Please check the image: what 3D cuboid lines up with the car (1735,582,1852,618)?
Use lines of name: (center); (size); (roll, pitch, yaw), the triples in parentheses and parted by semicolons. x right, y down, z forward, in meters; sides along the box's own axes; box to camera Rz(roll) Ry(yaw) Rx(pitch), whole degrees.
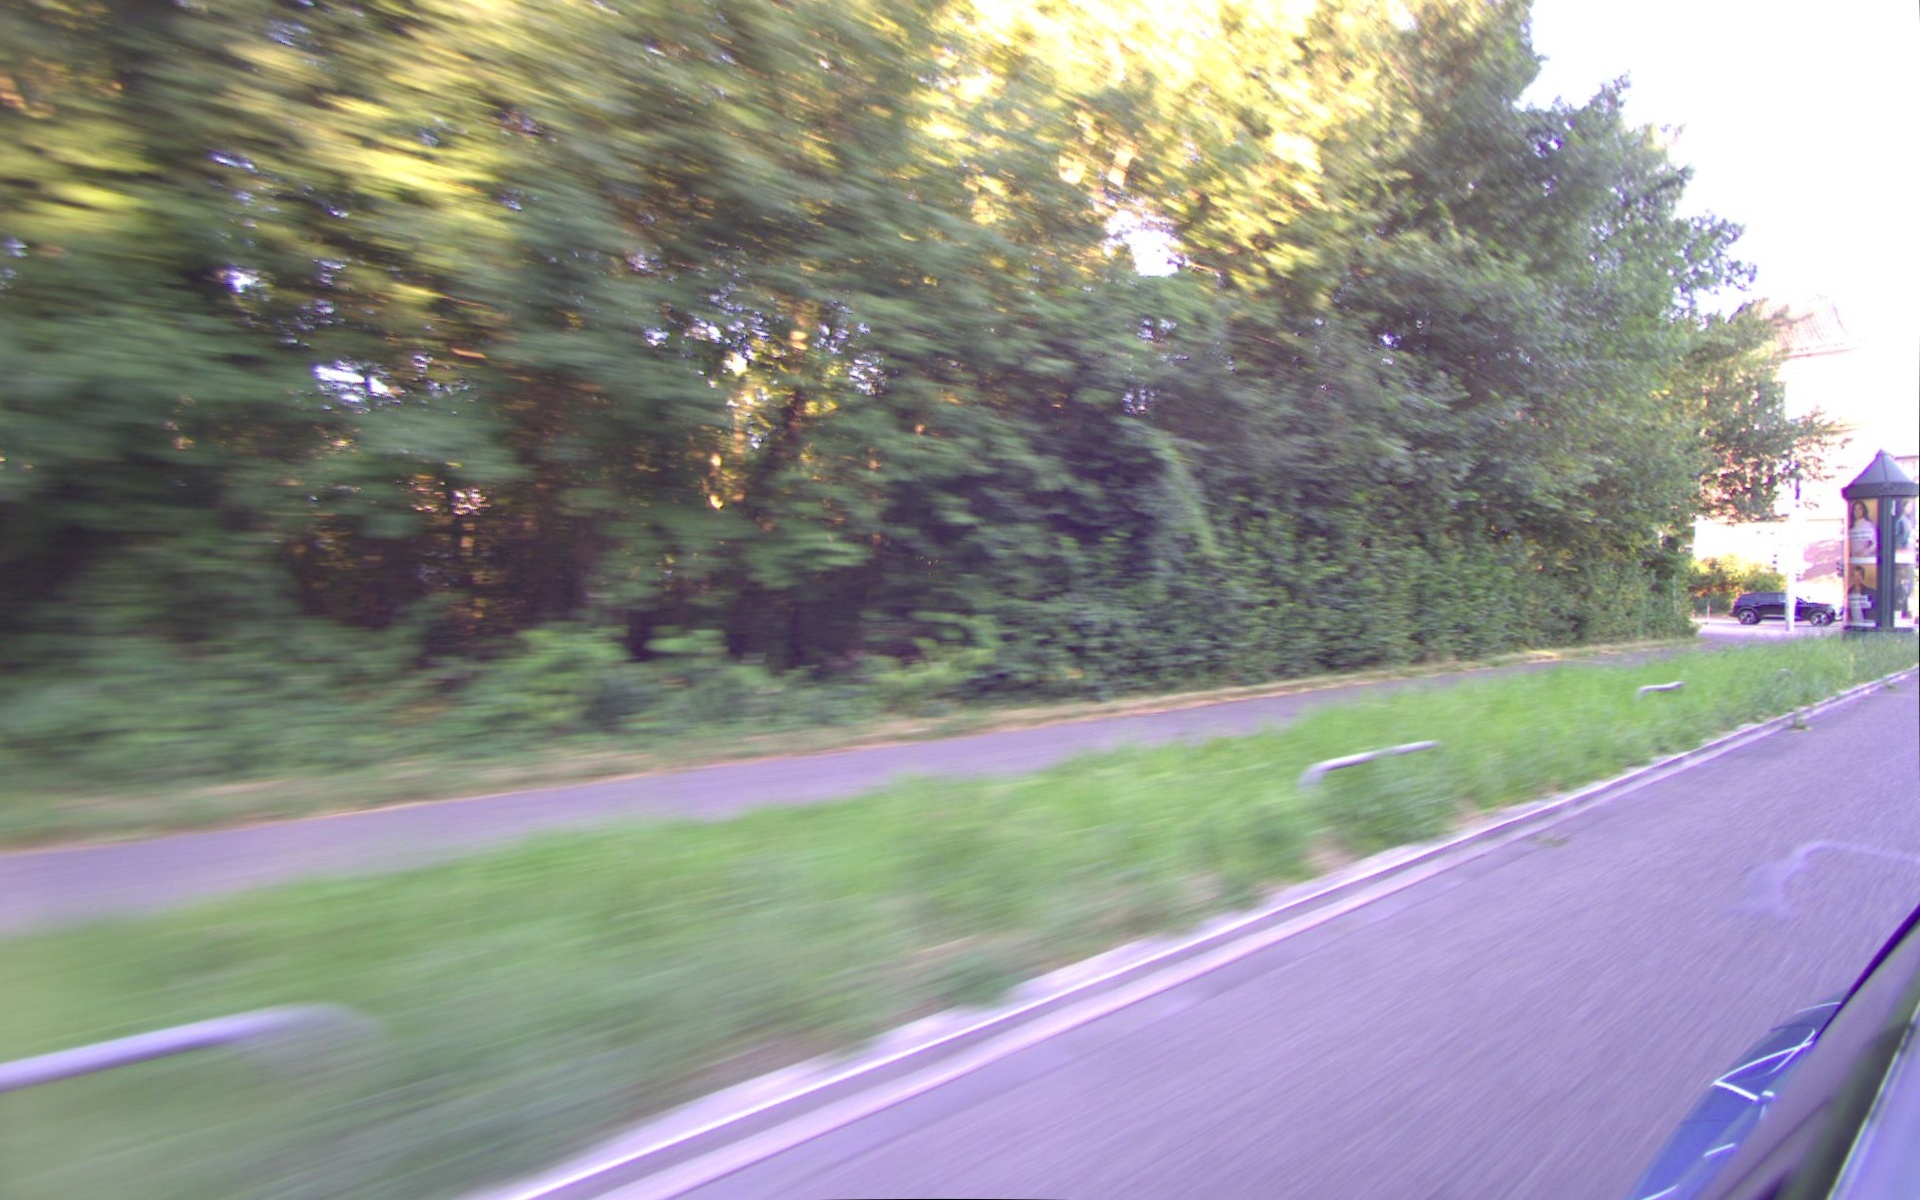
car: (38.367, -0.033, 46.650); (1.655, 1.555, 3.993); (0, 1, -42)
